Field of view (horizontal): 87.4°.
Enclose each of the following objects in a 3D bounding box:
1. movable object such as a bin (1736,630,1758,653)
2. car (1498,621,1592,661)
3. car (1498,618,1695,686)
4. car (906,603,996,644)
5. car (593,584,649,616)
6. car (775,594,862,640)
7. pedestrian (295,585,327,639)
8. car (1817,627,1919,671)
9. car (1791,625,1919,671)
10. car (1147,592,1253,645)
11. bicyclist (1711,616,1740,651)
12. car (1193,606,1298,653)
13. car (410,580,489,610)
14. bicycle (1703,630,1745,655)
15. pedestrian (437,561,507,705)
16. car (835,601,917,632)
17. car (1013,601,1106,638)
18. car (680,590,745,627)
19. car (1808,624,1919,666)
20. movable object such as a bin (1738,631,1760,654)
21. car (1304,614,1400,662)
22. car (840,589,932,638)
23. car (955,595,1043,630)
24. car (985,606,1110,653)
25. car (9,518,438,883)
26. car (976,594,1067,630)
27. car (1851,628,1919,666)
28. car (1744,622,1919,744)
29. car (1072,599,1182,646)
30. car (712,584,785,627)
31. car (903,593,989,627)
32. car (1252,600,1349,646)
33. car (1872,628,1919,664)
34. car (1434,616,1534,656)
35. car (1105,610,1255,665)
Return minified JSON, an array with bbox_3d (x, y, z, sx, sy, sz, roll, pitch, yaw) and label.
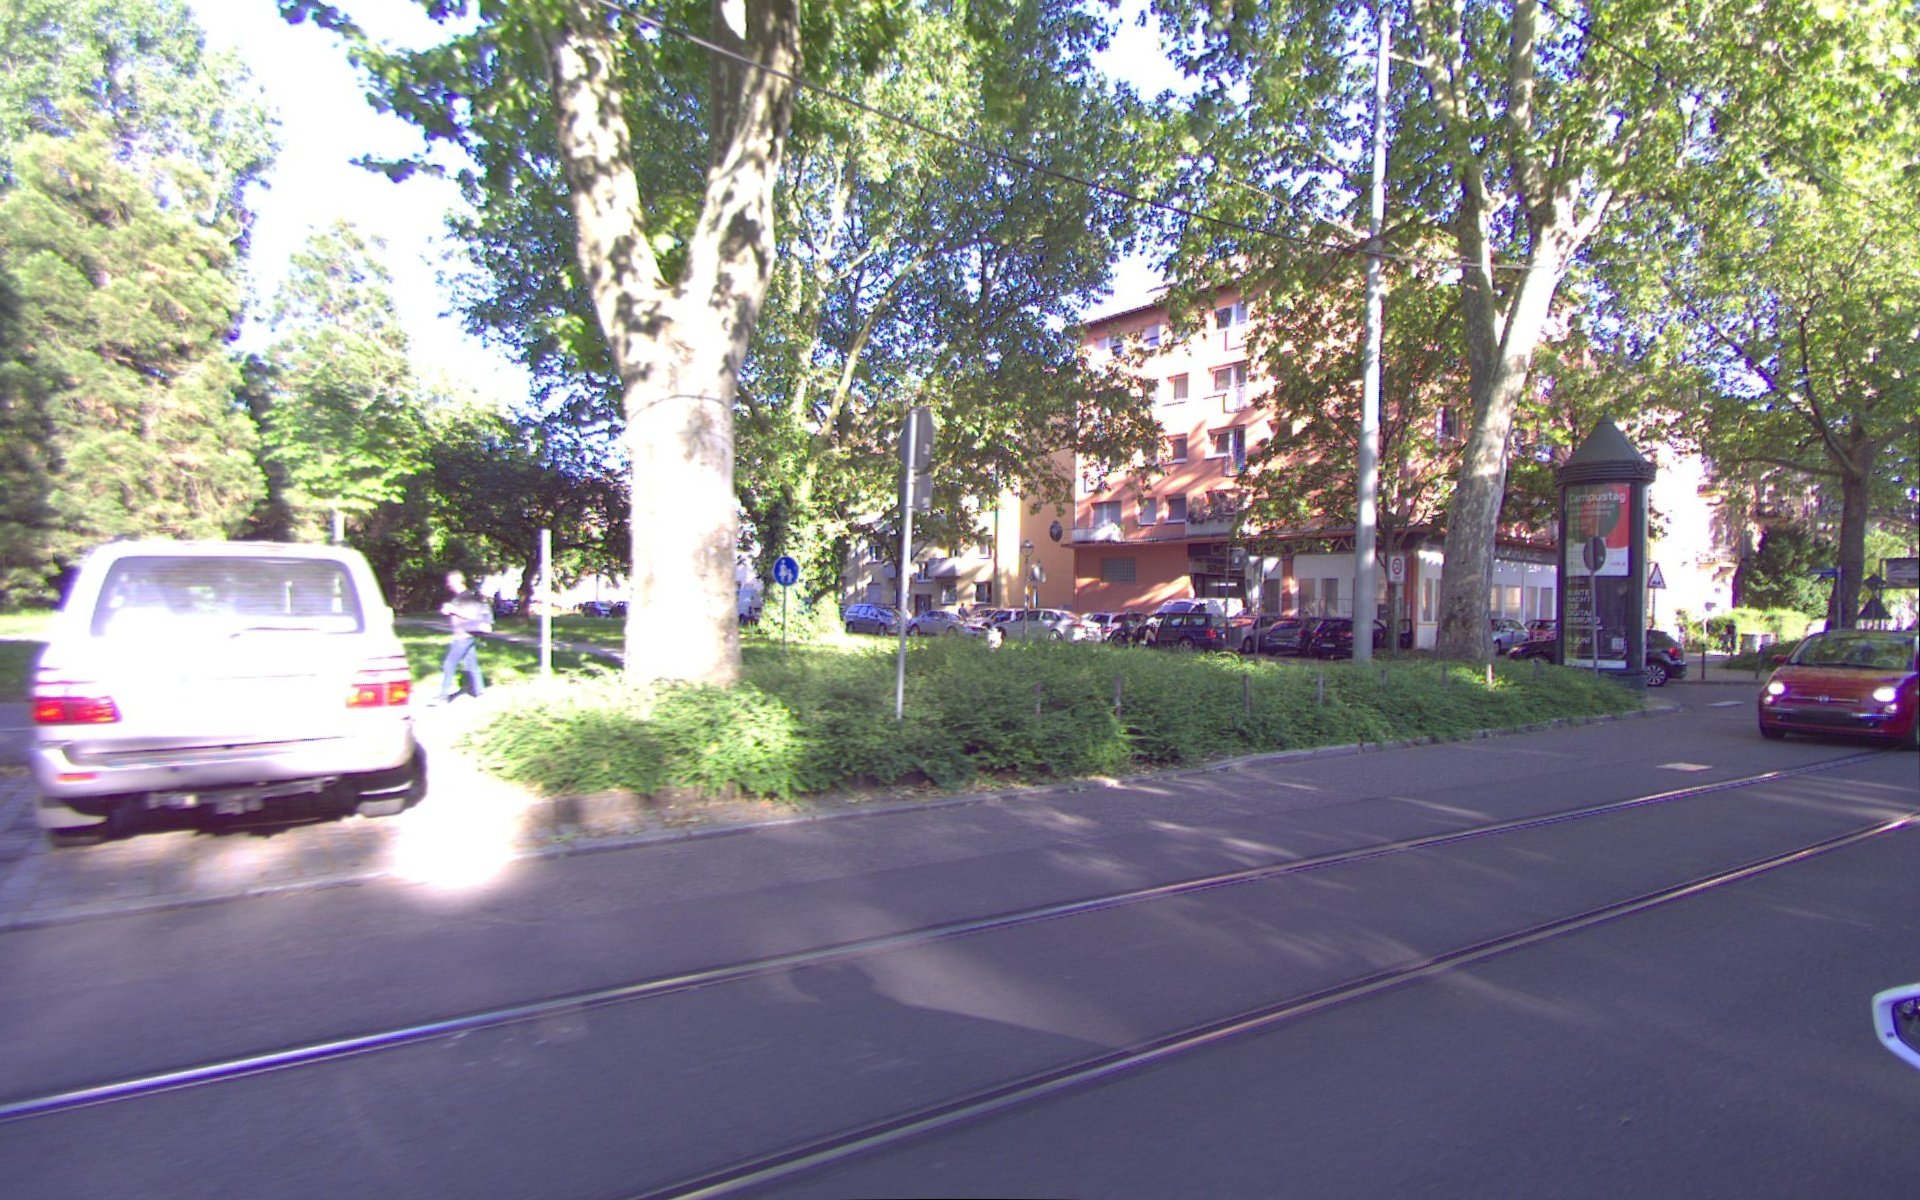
[{"bbox_3d":[39.709,2.109,50.702,0.537,1.124,0.720,2,1,-35],"label":"movable object such as a bin"},{"bbox_3d":[24.452,1.697,41.934,3.962,1.507,1.934,2,0,-36],"label":"car"},{"bbox_3d":[16.285,1.273,25.841,1.730,1.468,3.952,1,1,-41],"label":"car"},{"bbox_3d":[-0.418,0.938,40.837,1.676,1.469,3.675,2,0,-41],"label":"car"},{"bbox_3d":[-23.598,-0.011,69.824,1.986,2.040,4.685,2,0,-42],"label":"car"},{"bbox_3d":[-6.978,0.818,49.218,1.985,2.040,4.688,2,0,-41],"label":"car"},{"bbox_3d":[-20.869,0.386,32.311,0.701,1.695,0.775,2,0,-22],"label":"pedestrian"},{"bbox_3d":[35.676,1.881,38.813,1.669,1.484,3.579,2,0,-34],"label":"car"},{"bbox_3d":[33.547,1.774,37.612,1.679,1.484,3.398,2,0,-34],"label":"car"},{"bbox_3d":[9.883,0.761,41.175,1.973,2.030,4.890,2,0,44],"label":"car"},{"bbox_3d":[34.198,1.486,44.872,1.108,1.527,0.793,2,1,-40],"label":"bicyclist"},{"bbox_3d":[11.122,1.129,39.010,1.973,1.639,4.530,2,0,44],"label":"car"},{"bbox_3d":[-30.470,-0.288,59.944,4.059,1.639,1.881,2,0,-32],"label":"car"},{"bbox_3d":[34.087,1.891,44.805,2.563,1.012,0.959,2,0,-41],"label":"bicycle"},{"bbox_3d":[-6.425,0.425,13.227,0.743,1.834,0.640,2,1,-31],"label":"pedestrian"},{"bbox_3d":[-4.819,0.961,57.975,4.453,1.639,1.925,2,0,-44],"label":"car"},{"bbox_3d":[4.742,0.934,47.599,4.453,1.639,1.925,2,0,-44],"label":"car"},{"bbox_3d":[-14.849,0.468,60.147,1.983,2.040,4.691,2,0,-39],"label":"car"},{"bbox_3d":[37.454,1.825,40.966,1.802,1.484,4.057,2,0,-34],"label":"car"},{"bbox_3d":[40.093,2.137,51.070,0.555,1.124,0.718,2,1,-35],"label":"movable object such as a bin"},{"bbox_3d":[13.980,1.329,35.718,1.793,1.513,3.977,2,0,43],"label":"car"},{"bbox_3d":[-3.312,0.583,44.734,1.987,2.040,3.947,2,0,-44],"label":"car"},{"bbox_3d":[2.049,0.654,51.343,4.453,1.639,1.925,2,0,-44],"label":"car"},{"bbox_3d":[3.127,1.037,36.457,1.812,1.469,4.424,2,0,-44],"label":"car"},{"bbox_3d":[-5.412,0.483,7.512,1.921,1.858,4.536,2,0,-37],"label":"car"},{"bbox_3d":[3.049,0.597,49.430,4.453,1.639,1.925,2,0,-44],"label":"car"},{"bbox_3d":[39.611,1.974,41.821,1.741,1.484,3.398,2,0,-34],"label":"car"},{"bbox_3d":[12.350,1.061,13.758,3.440,1.462,1.649,2,-3,-36],"label":"car"},{"bbox_3d":[7.264,0.995,43.360,4.880,1.869,1.977,2,0,-40],"label":"car"},{"bbox_3d":[-11.875,0.274,56.224,2.026,2.227,4.691,2,0,-39],"label":"car"},{"bbox_3d":[-0.717,0.548,53.600,4.453,1.639,1.925,2,0,-44],"label":"car"},{"bbox_3d":[12.744,0.846,37.501,1.971,1.546,3.978,2,0,42],"label":"car"},{"bbox_3d":[42.097,2.043,43.190,1.837,1.484,3.959,2,0,-36],"label":"car"},{"bbox_3d":[20.343,1.384,38.954,3.855,1.426,1.934,2,0,-36],"label":"car"},{"bbox_3d":[6.994,1.164,32.362,1.846,1.509,4.486,2,0,-41],"label":"car"}]
